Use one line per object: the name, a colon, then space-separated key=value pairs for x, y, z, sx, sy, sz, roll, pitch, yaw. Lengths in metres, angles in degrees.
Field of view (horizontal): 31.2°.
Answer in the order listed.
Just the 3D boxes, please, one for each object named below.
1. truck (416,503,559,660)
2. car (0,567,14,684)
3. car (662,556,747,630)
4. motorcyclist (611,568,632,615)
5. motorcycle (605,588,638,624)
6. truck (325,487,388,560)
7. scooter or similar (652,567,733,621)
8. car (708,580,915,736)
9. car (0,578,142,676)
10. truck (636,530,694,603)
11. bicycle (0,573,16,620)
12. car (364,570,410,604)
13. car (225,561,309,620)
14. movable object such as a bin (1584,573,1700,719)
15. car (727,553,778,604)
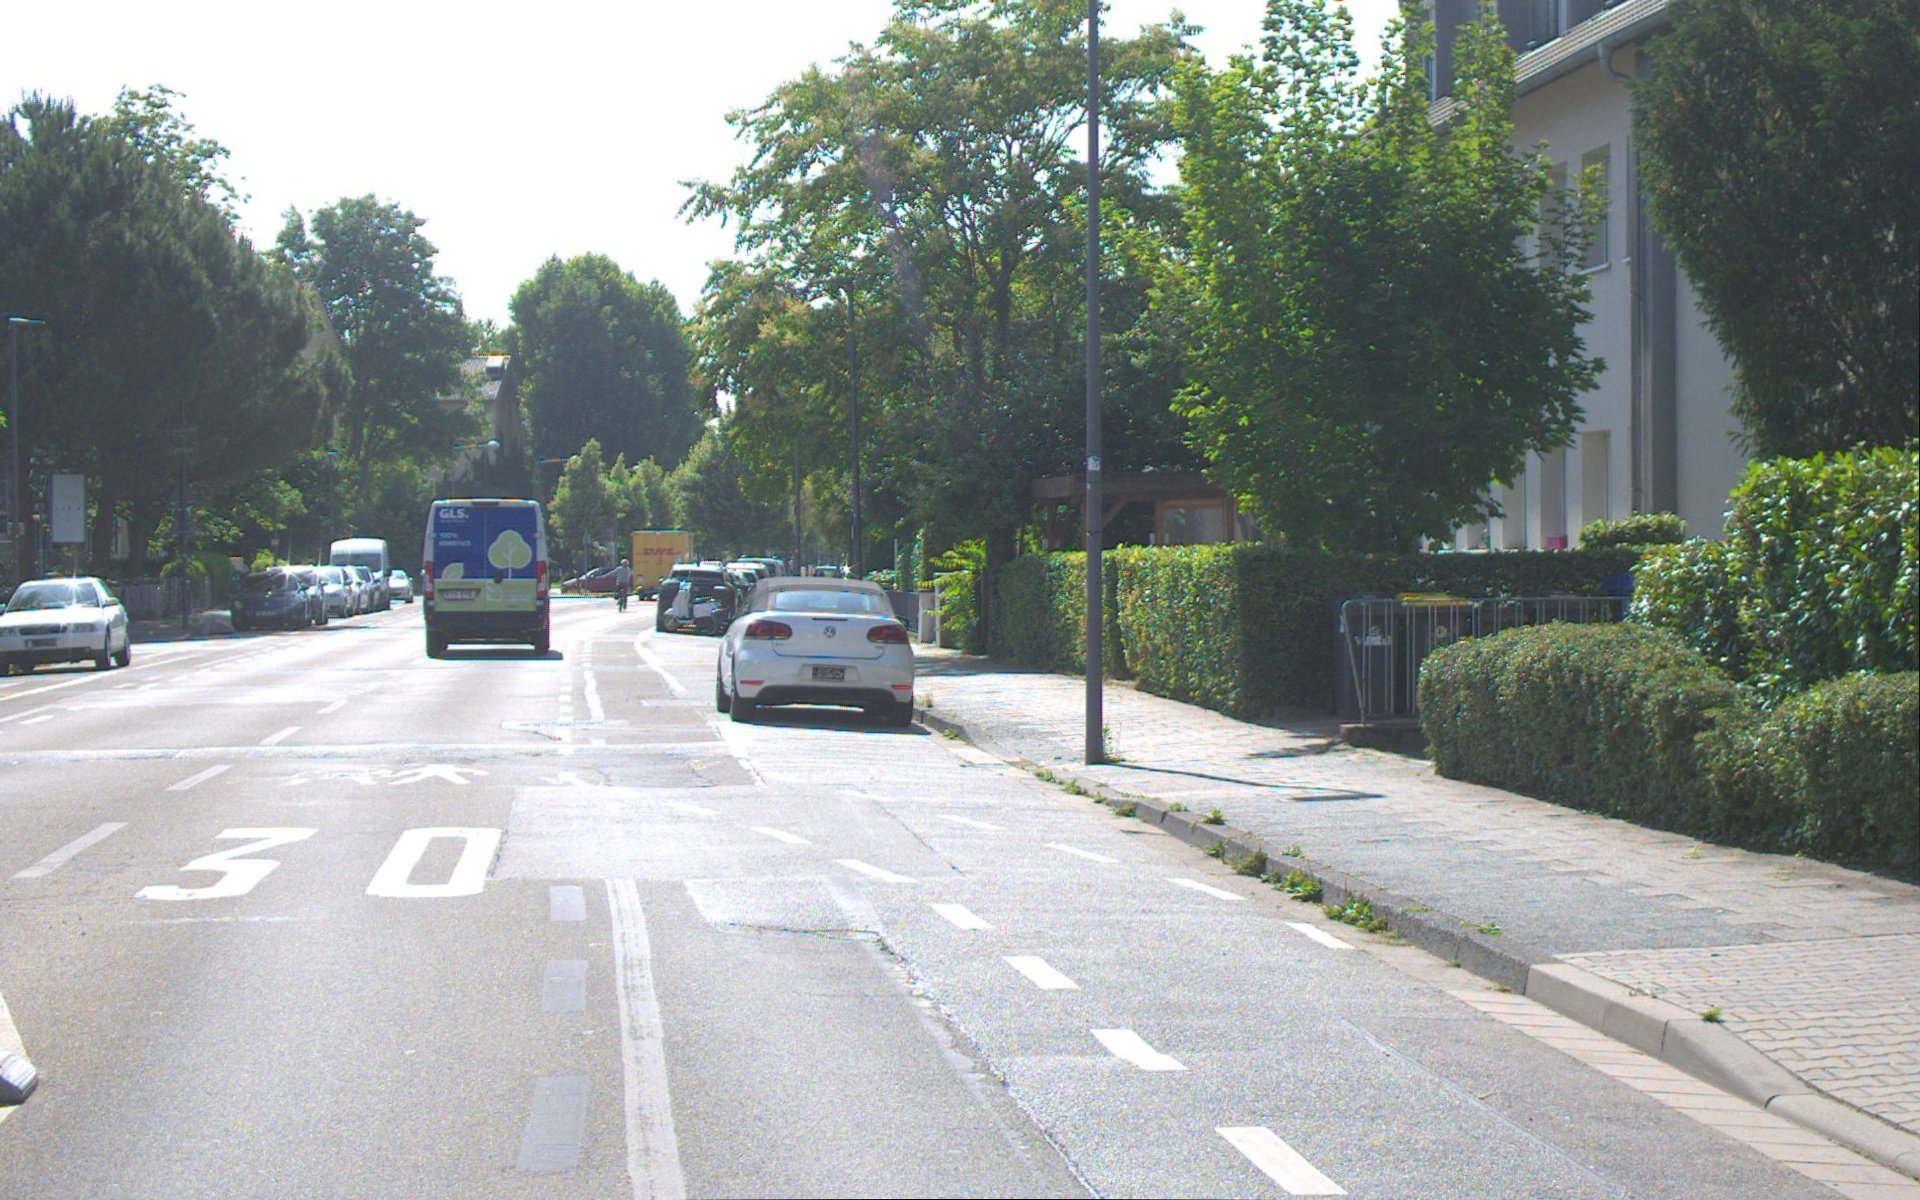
truck: x=-7.976 y=-0.320 z=58.389 sx=2.272 sy=2.562 sz=4.393 roll=0 pitch=0 yaw=-6
car: x=-12.686 y=0.343 z=41.461 sx=1.785 sy=1.435 sz=4.001 roll=0 pitch=1 yaw=-6
car: x=-6.120 y=-0.189 z=81.964 sx=1.784 sy=1.632 sz=4.471 roll=2 pitch=1 yaw=-7
motorcyclist: x=-10.983 y=-0.283 z=111.484 sx=0.672 sy=1.513 sz=0.652 roll=0 pitch=0 yaw=-6
motorcycle: x=-11.002 y=0.182 z=111.603 sx=1.056 sy=1.119 sz=2.992 roll=0 pitch=0 yaw=-6
truck: x=-21.461 y=-2.720 z=122.371 sx=2.080 sy=2.528 sz=5.468 roll=0 pitch=1 yaw=-9
scooter or similar: x=-6.169 y=-0.141 z=79.241 sx=1.795 sy=1.150 sz=0.718 roll=4 pitch=0 yaw=39
car: x=-1.542 y=0.533 z=34.278 sx=1.740 sy=1.397 sz=4.075 roll=0 pitch=1 yaw=-7
car: x=-13.796 y=0.382 z=53.048 sx=1.785 sy=1.435 sz=4.001 roll=0 pitch=1 yaw=-6
truck: x=-12.151 y=-1.378 z=141.932 sx=2.214 sy=2.936 sz=5.687 roll=0 pitch=0 yaw=-3
bicycle: x=-25.598 y=-0.102 z=91.794 sx=0.536 sy=1.177 sz=1.447 roll=-1 pitch=3 yaw=-23
car: x=-23.757 y=-0.549 z=142.677 sx=1.754 sy=1.339 sz=3.655 roll=0 pitch=1 yaw=-7
car: x=-17.616 y=-0.265 z=87.482 sx=1.780 sy=1.455 sz=4.087 roll=0 pitch=1 yaw=-7
movable object such as a bin: x=5.944 y=0.388 z=30.008 sx=0.746 sy=1.239 sz=0.794 roll=-1 pitch=1 yaw=-10
car: x=-6.993 y=-0.734 z=116.217 sx=1.700 sy=1.671 sz=3.775 roll=0 pitch=1 yaw=-3
